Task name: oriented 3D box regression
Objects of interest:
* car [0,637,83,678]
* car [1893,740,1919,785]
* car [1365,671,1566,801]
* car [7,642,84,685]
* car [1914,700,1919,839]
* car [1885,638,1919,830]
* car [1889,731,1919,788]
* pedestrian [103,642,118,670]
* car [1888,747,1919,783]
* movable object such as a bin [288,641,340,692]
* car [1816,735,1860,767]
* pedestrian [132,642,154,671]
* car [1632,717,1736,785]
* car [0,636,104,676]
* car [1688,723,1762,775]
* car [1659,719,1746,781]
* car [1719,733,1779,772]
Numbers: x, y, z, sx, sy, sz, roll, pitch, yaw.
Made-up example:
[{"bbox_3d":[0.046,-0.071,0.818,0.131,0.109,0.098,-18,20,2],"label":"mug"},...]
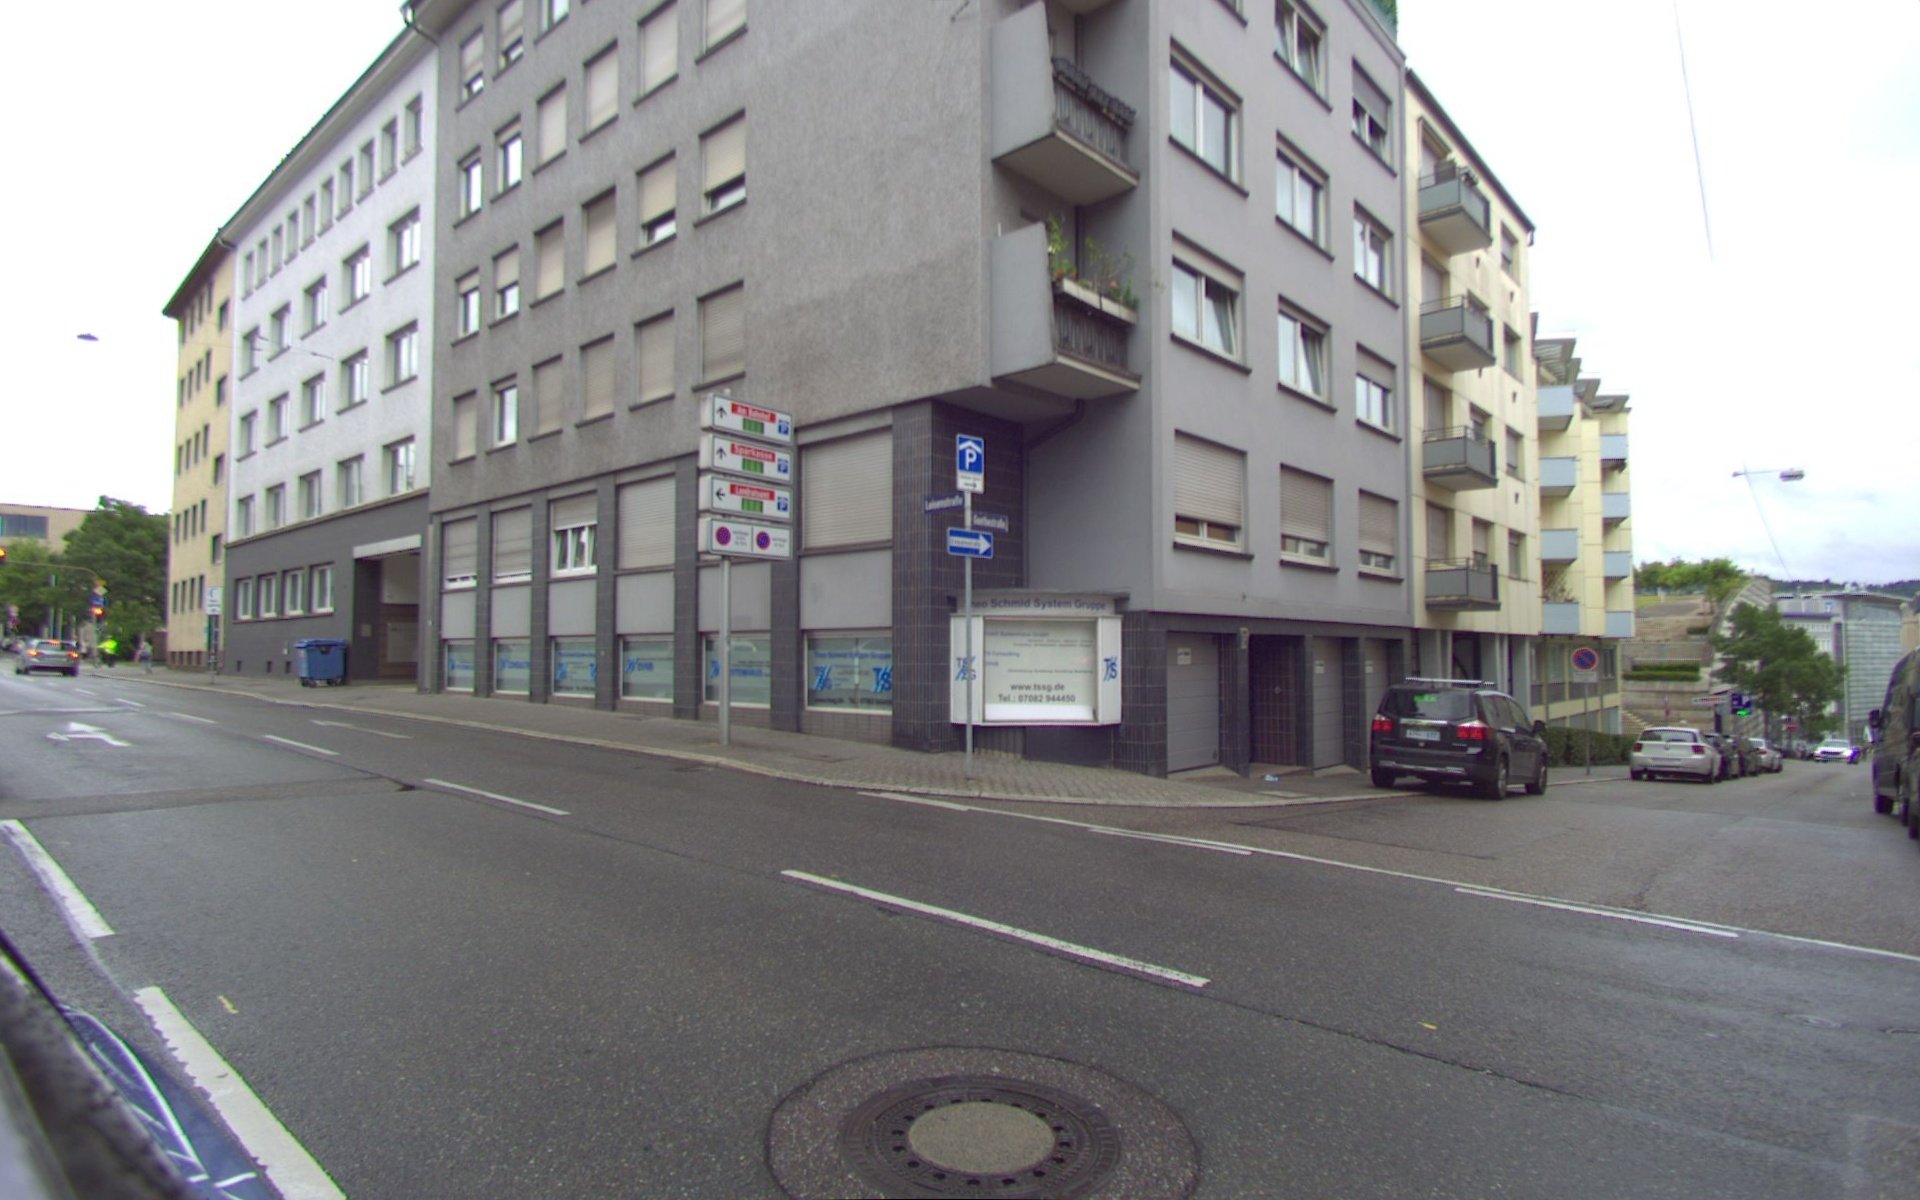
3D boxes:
[{"bbox_3d":[-47.208,2.900,51.448,1.692,1.847,3.744,-2,0,42],"label":"car"},{"bbox_3d":[34.774,5.884,36.366,1.722,1.506,3.997,-2,-8,42],"label":"car"},{"bbox_3d":[8.011,2.137,15.836,1.795,1.700,4.186,-2,-8,42],"label":"car"},{"bbox_3d":[-37.565,2.563,41.560,4.372,1.602,1.858,-1,-3,42],"label":"car"},{"bbox_3d":[10.941,1.810,10.139,1.842,1.589,4.097,-2,-8,42],"label":"car"},{"bbox_3d":[15.168,2.048,14.812,2.250,2.481,5.975,-2,-7,41],"label":"car"},{"bbox_3d":[30.941,5.134,32.282,1.817,1.688,3.997,-2,-8,42],"label":"car"},{"bbox_3d":[-43.663,2.884,51.993,0.535,1.380,0.436,-2,-6,43],"label":"pedestrian"},{"bbox_3d":[40.684,7.047,43.095,1.599,1.416,3.997,-2,-8,42],"label":"car"},{"bbox_3d":[-18.188,1.853,28.491,1.096,1.343,0.933,-2,0,42],"label":"movable object such as a bin"},{"bbox_3d":[52.421,9.005,60.406,1.931,1.688,3.997,-2,-8,42],"label":"car"},{"bbox_3d":[-33.431,2.311,41.400,0.407,1.158,0.575,-2,-6,42],"label":"pedestrian"},{"bbox_3d":[19.299,4.006,26.922,1.840,1.559,3.945,-2,-8,42],"label":"car"},{"bbox_3d":[-45.057,2.728,50.085,1.902,1.728,3.877,-2,0,43],"label":"car"},{"bbox_3d":[27.007,5.273,35.691,1.747,1.627,3.945,-2,-8,42],"label":"car"},{"bbox_3d":[22.517,4.520,30.643,1.747,1.627,3.945,-2,-8,42],"label":"car"},{"bbox_3d":[33.649,6.515,43.139,1.747,1.476,3.945,-2,-8,42],"label":"car"}]
